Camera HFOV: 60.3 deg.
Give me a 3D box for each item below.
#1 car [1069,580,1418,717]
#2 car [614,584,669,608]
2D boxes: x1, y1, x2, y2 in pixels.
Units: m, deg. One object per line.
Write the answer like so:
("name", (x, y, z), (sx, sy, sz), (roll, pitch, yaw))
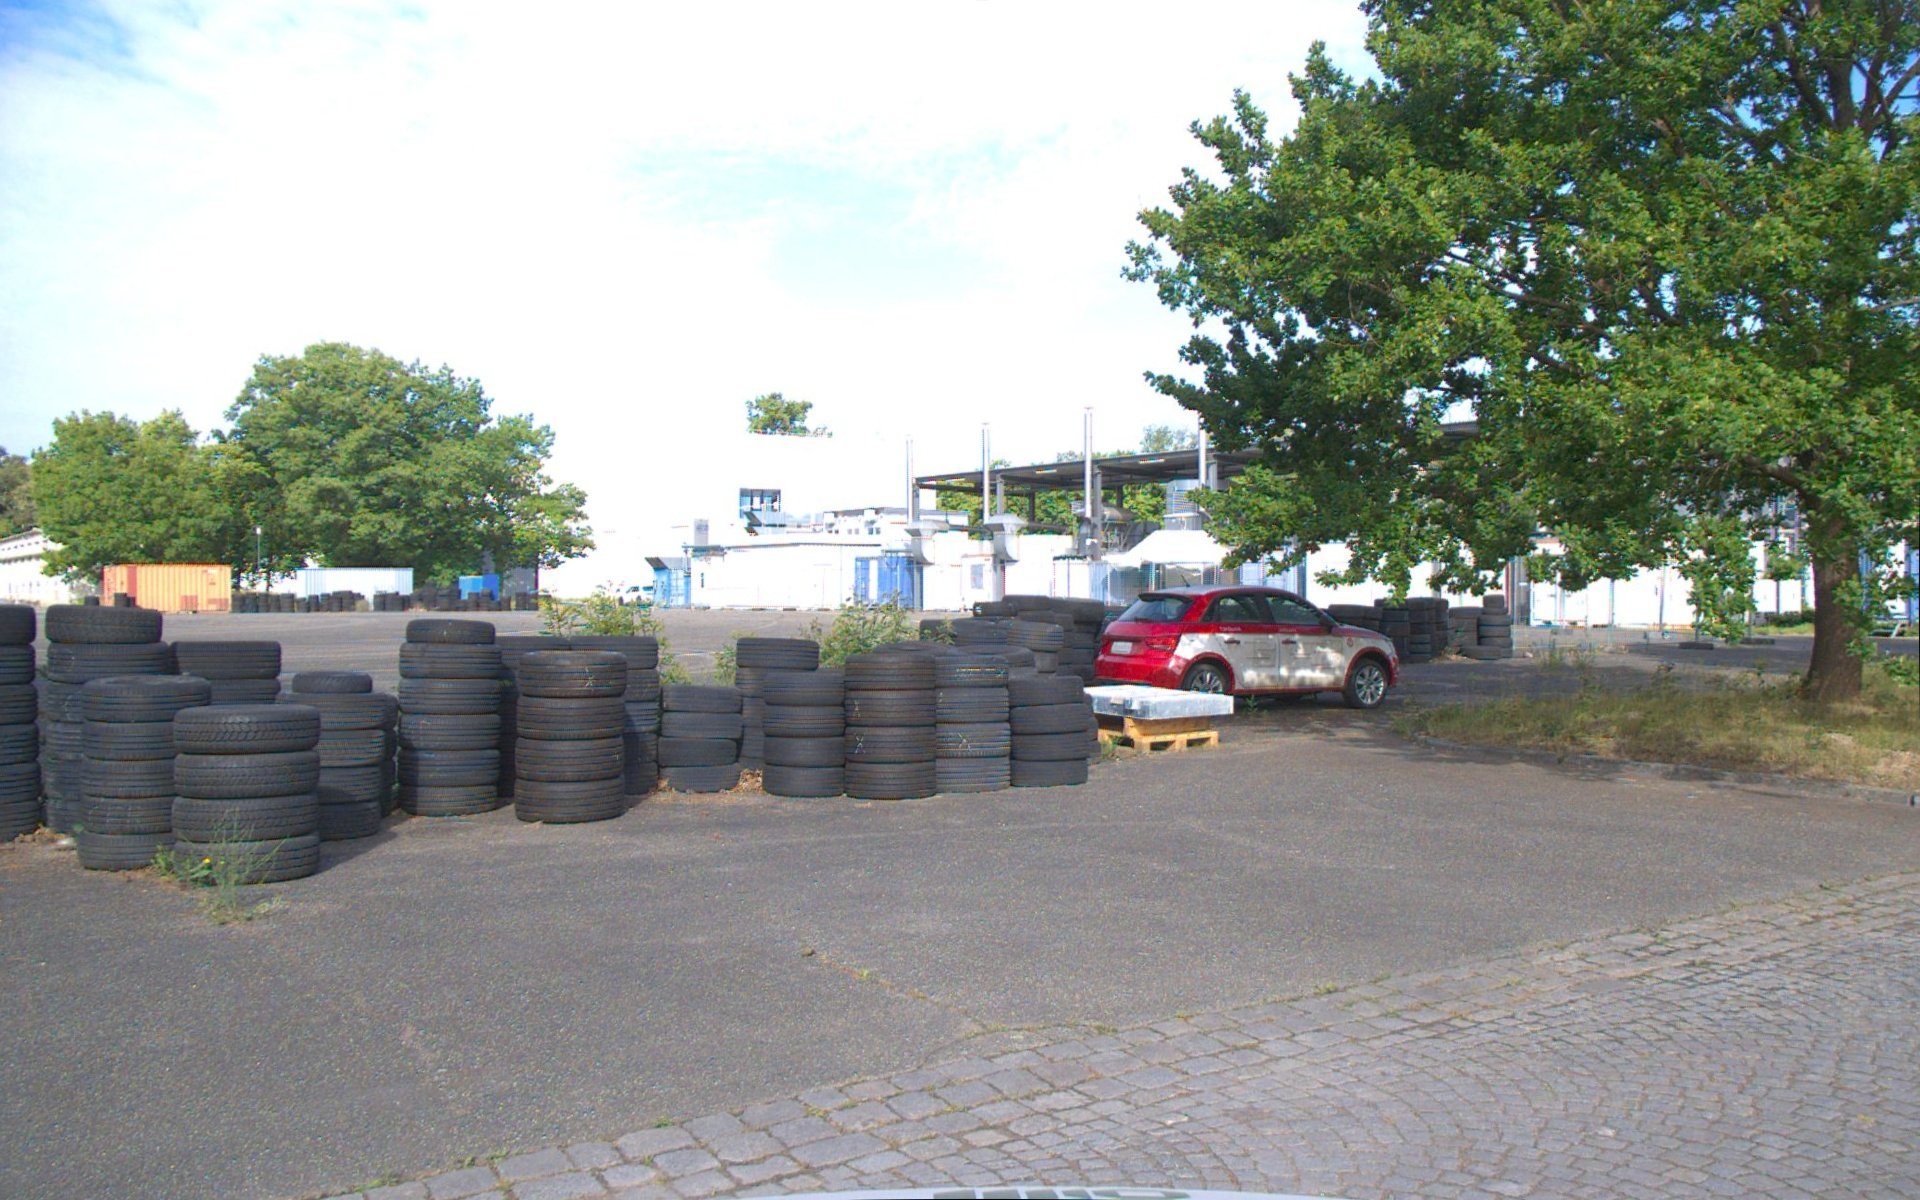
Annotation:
("car", (3.398, 0.508, 19.687), (3.943, 1.489, 1.711), (0, 0, -29))
("car", (-21.509, -0.297, 111.652), (1.855, 1.592, 4.488), (-1, 1, -37))
